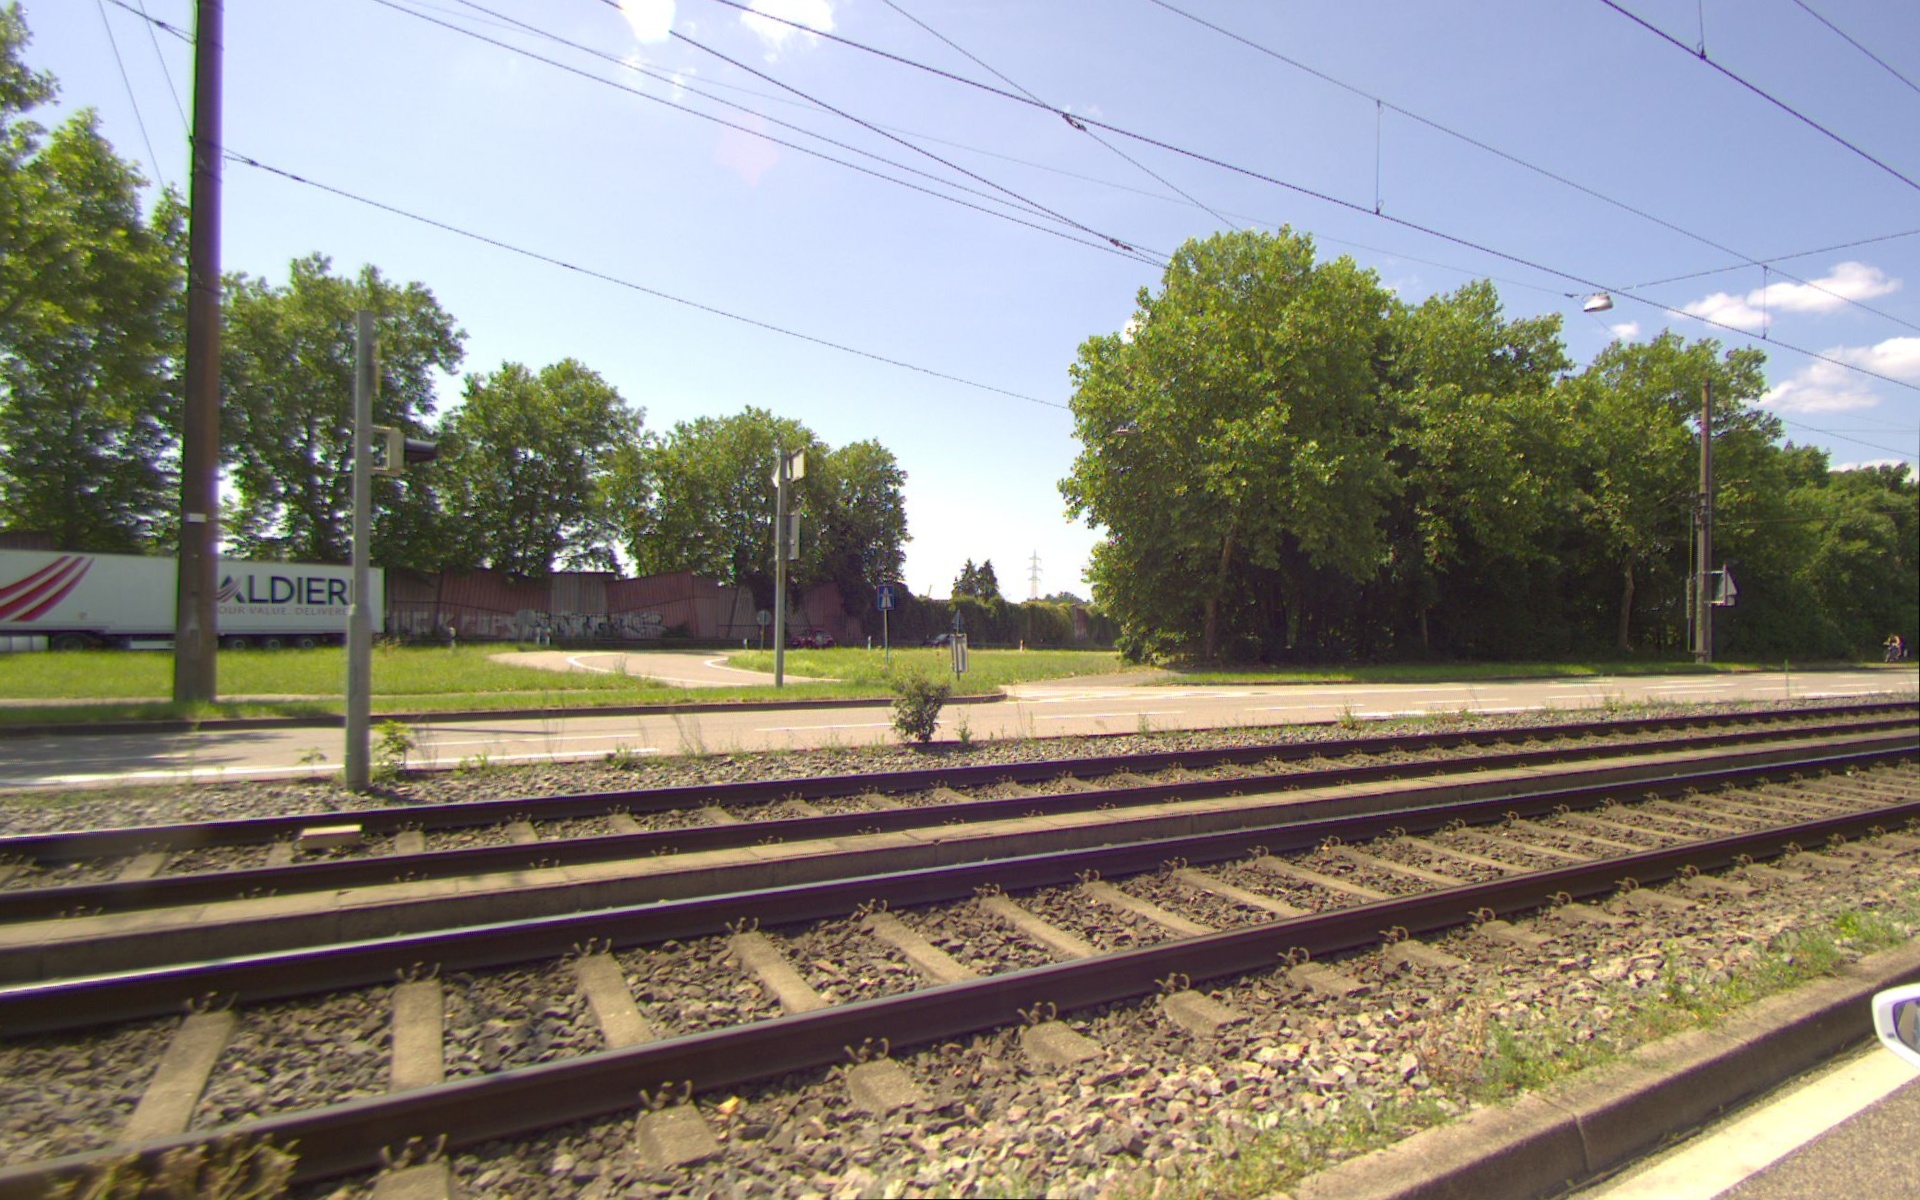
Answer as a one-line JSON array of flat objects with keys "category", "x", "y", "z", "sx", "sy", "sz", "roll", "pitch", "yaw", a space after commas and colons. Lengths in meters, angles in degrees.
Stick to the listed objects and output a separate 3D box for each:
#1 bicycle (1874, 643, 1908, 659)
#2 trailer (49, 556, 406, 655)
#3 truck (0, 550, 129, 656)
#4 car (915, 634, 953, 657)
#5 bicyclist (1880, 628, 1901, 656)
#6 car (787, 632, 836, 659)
[{"category": "bicycle", "x": 47.797, "y": 2.624, "z": 51.563, "sx": 2.042, "sy": 0.829, "sz": 0.584, "roll": 2, "pitch": -2, "yaw": -27}, {"category": "trailer", "x": -31.058, "y": 0.369, "z": 43.565, "sx": 3.332, "sy": 3.703, "sz": 12.072, "roll": 0, "pitch": -1, "yaw": 34}, {"category": "truck", "x": -35.448, "y": 0.122, "z": 37.027, "sx": 3.361, "sy": 3.751, "sz": 6.740, "roll": 0, "pitch": -1, "yaw": 34}, {"category": "car", "x": -2.175, "y": 3.807, "z": 84.399, "sx": 1.539, "sy": 1.815, "sz": 3.389, "roll": 0, "pitch": -2, "yaw": 35}, {"category": "bicyclist", "x": 47.779, "y": 2.161, "z": 51.560, "sx": 0.623, "sy": 1.386, "sz": 0.566, "roll": 2, "pitch": 0, "yaw": -27}, {"category": "car", "x": -10.601, "y": 3.243, "z": 71.913, "sx": 1.539, "sy": 1.815, "sz": 3.389, "roll": 0, "pitch": -2, "yaw": 35}]
